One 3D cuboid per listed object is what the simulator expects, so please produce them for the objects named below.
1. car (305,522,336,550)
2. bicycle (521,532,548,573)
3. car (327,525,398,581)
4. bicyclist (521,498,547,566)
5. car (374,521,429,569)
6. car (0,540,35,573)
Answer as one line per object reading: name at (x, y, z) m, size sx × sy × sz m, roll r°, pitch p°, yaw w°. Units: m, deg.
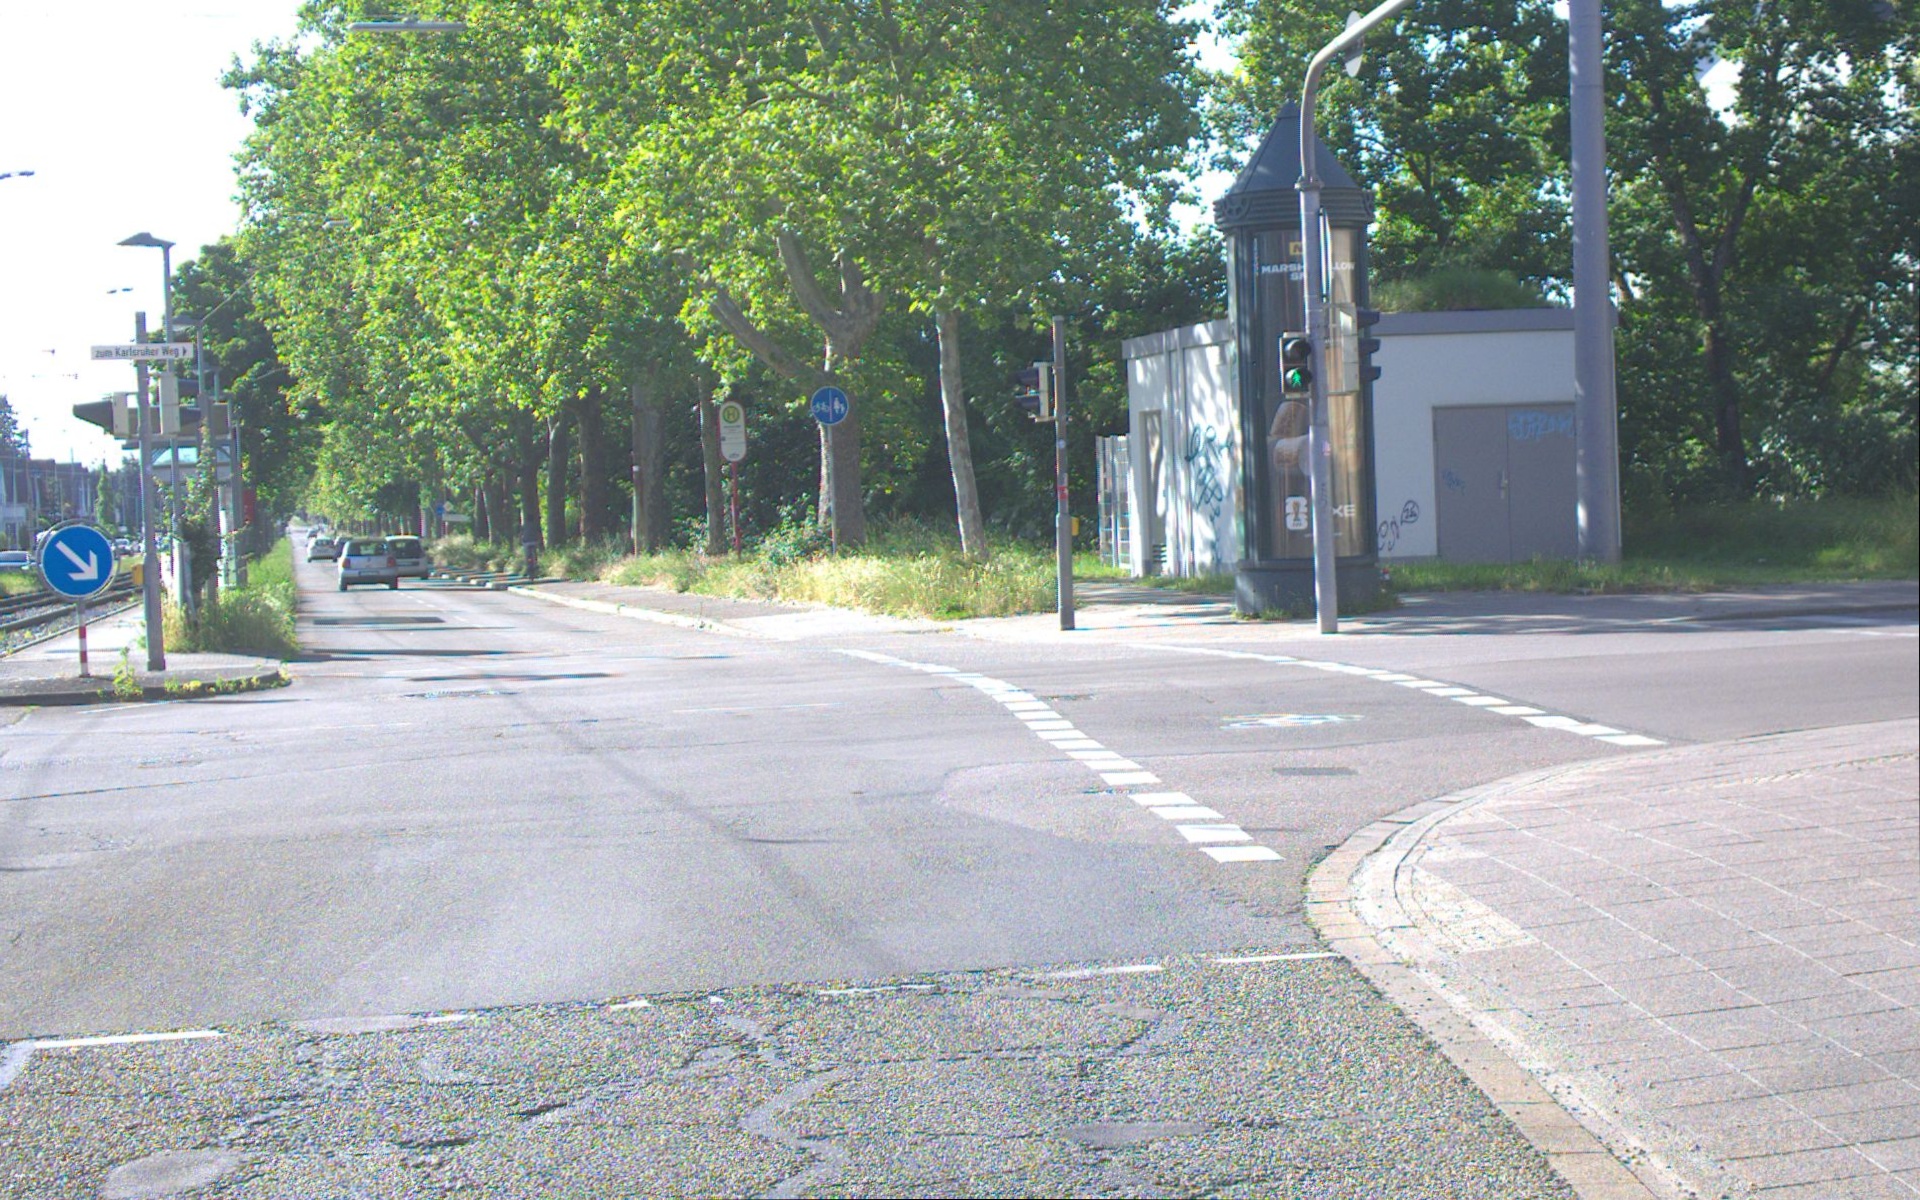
car at (-39.480, -3.965, 212.337) m, size 1.750 × 1.599 × 3.582 m, roll -3°, pitch 2°, yaw -12°
bicycle at (-11.303, -1.267, 91.337) m, size 0.536 × 1.062 × 1.434 m, roll -3°, pitch 2°, yaw -13°
car at (-16.682, -1.307, 95.891) m, size 1.867 × 1.481 × 3.556 m, roll -2°, pitch 1°, yaw -11°
bicyclist at (-11.322, -1.812, 91.358) m, size 0.534 × 1.763 × 0.713 m, roll -3°, pitch 1°, yaw -13°
car at (-19.358, -1.930, 119.071) m, size 1.750 × 1.599 × 3.751 m, roll -2°, pitch 2°, yaw -11°
car at (-43.870, -2.000, 158.751) m, size 1.993 × 1.464 × 4.377 m, roll -2°, pitch 1°, yaw -12°
